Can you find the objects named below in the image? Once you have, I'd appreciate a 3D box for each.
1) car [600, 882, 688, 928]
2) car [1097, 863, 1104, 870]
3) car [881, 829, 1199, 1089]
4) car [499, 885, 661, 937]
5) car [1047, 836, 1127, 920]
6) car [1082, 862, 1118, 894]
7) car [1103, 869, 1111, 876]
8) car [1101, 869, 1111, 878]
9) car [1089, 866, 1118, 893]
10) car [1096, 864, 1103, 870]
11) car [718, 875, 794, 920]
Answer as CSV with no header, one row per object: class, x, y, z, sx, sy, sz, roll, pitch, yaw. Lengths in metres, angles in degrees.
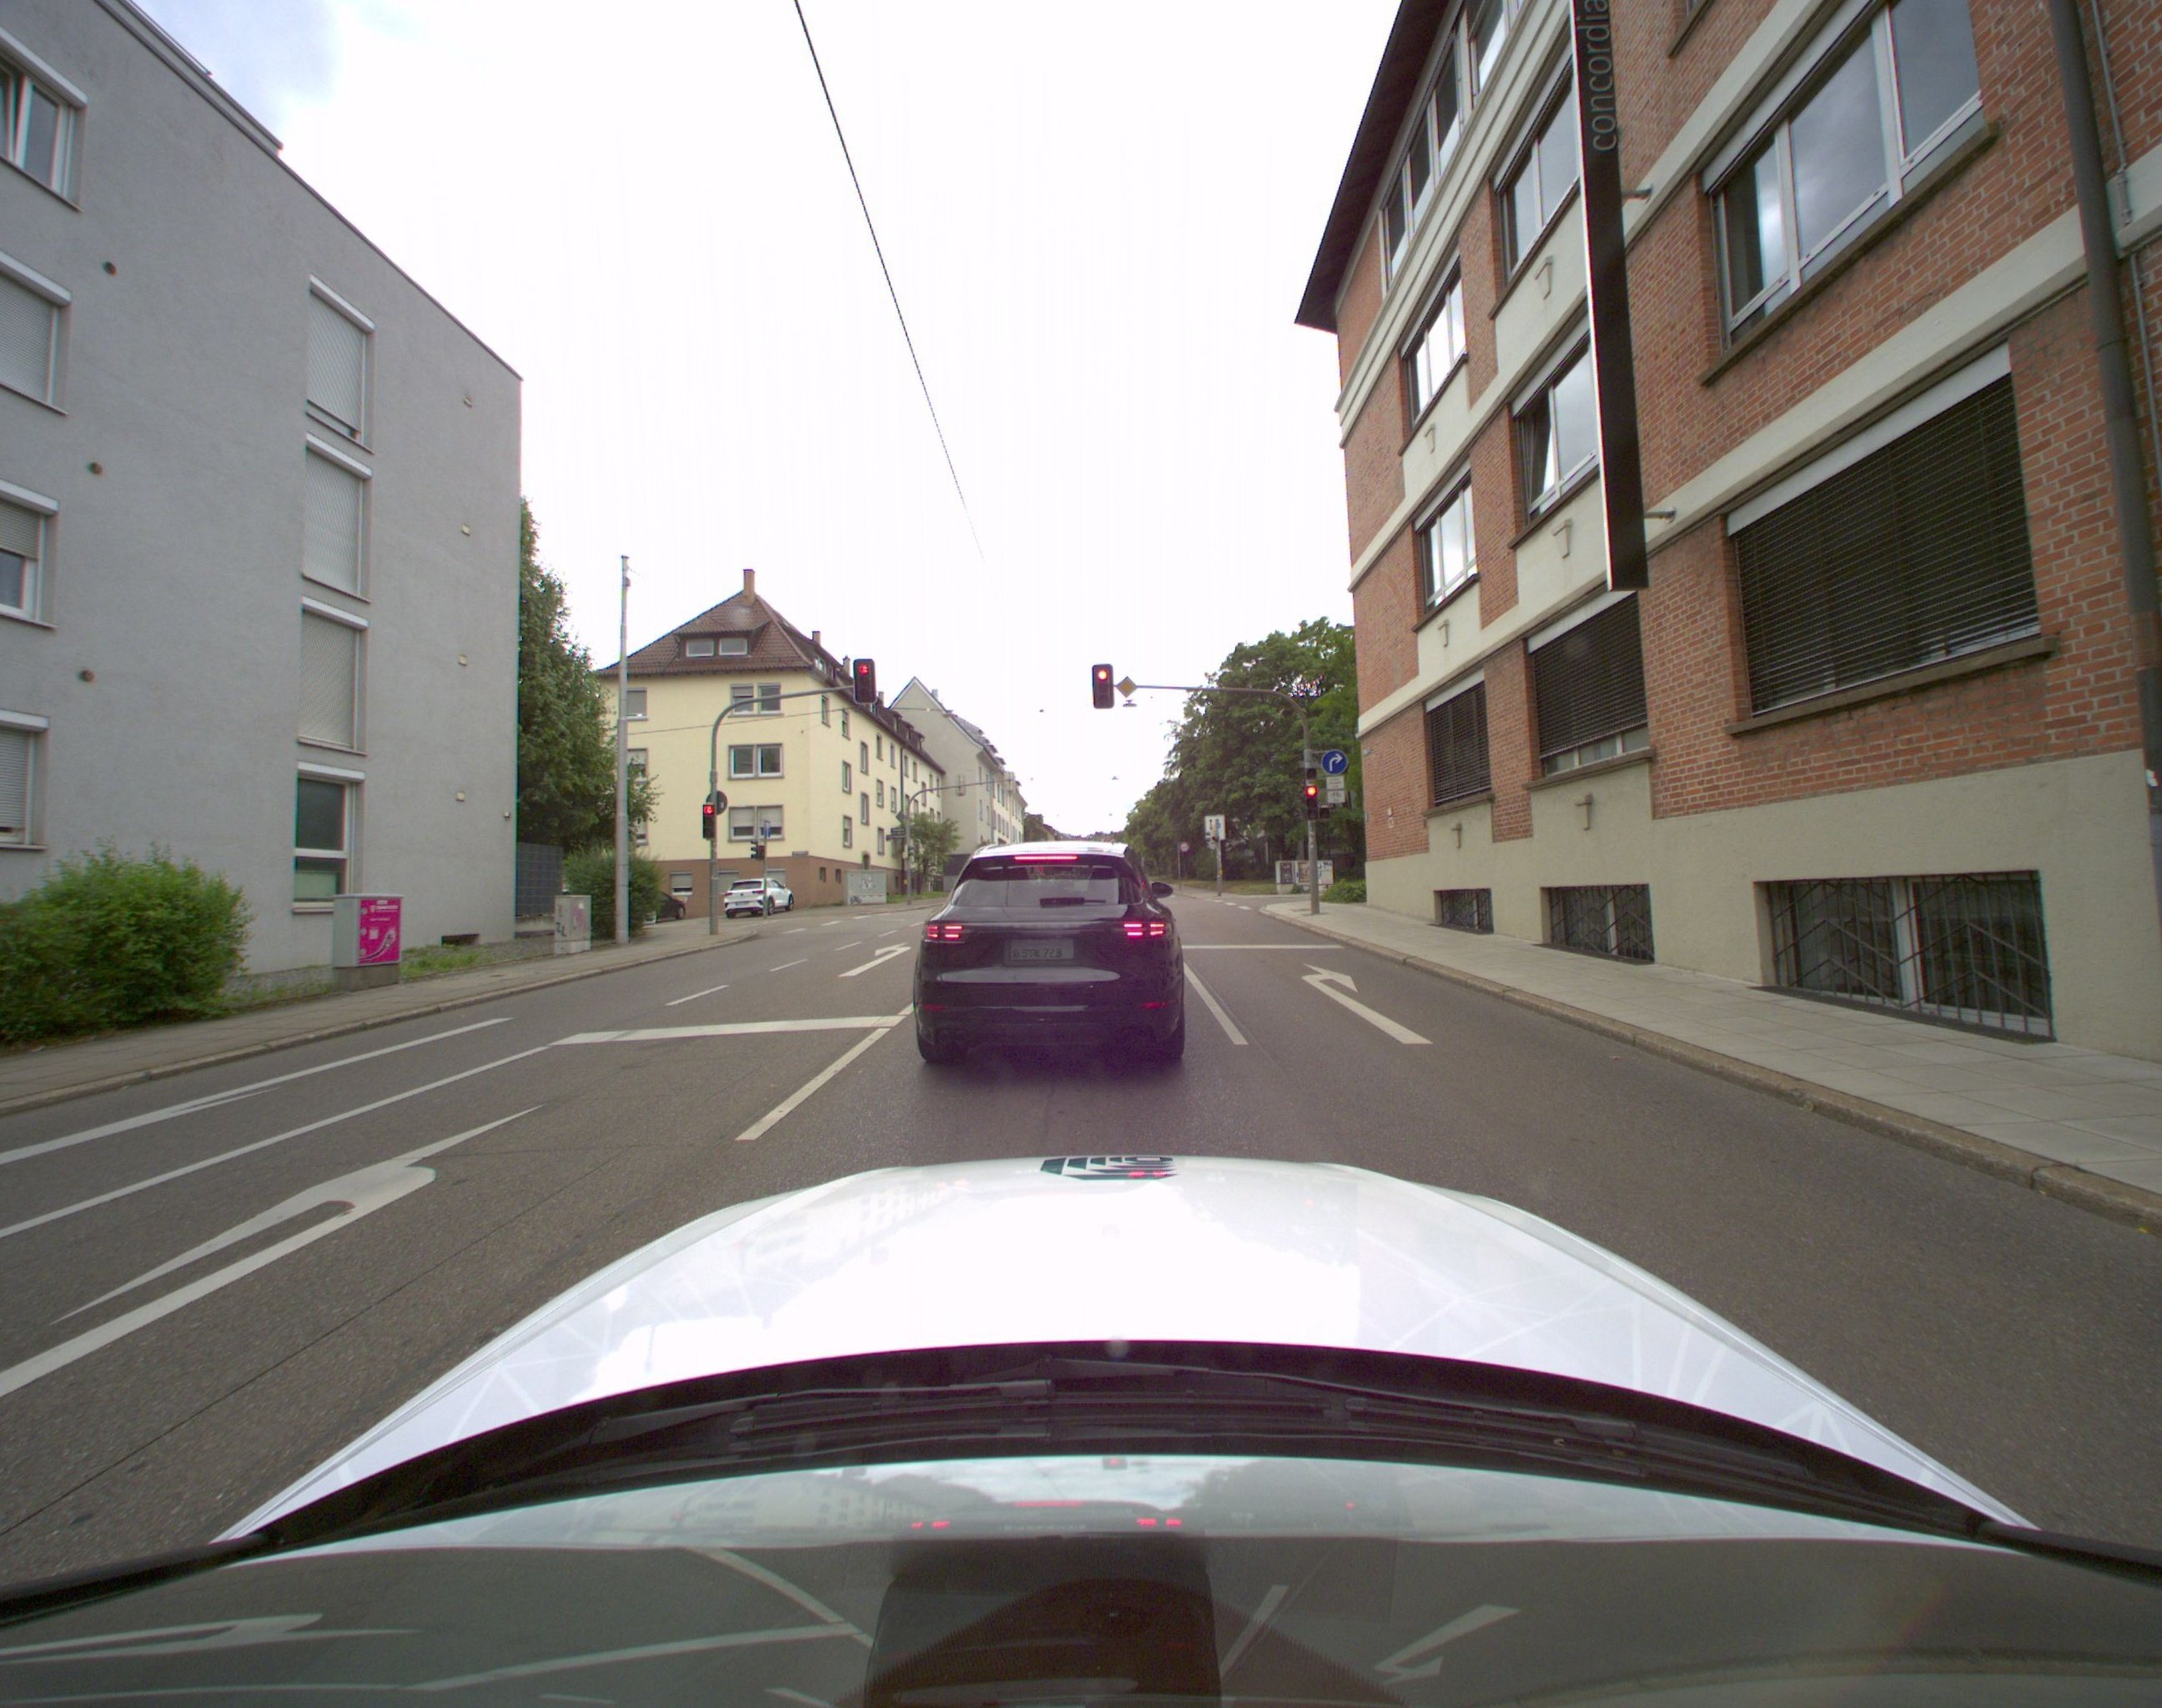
car,-18.498,2.127,34.648,1.686,1.608,3.763,-4,0,-2
car,5.055,3.239,210.388,1.820,1.605,4.137,0,0,2
car,-0.189,0.679,7.382,2.040,1.666,4.269,0,0,2
car,-15.933,1.795,26.043,4.044,1.392,1.695,-2,-1,-2
car,0.228,0.593,22.033,1.957,2.042,4.137,0,0,2
car,1.051,1.261,43.942,1.820,1.605,4.137,0,0,2
car,5.849,4.102,182.543,1.820,1.605,4.137,0,0,2
car,5.015,3.873,163.377,1.820,1.605,4.137,0,0,2
car,1.464,1.639,52.649,1.820,1.605,3.860,0,0,2
car,4.637,3.265,203.066,1.820,1.605,4.137,0,0,2
car,-13.534,1.763,34.185,1.686,1.555,3.763,-4,0,-2
